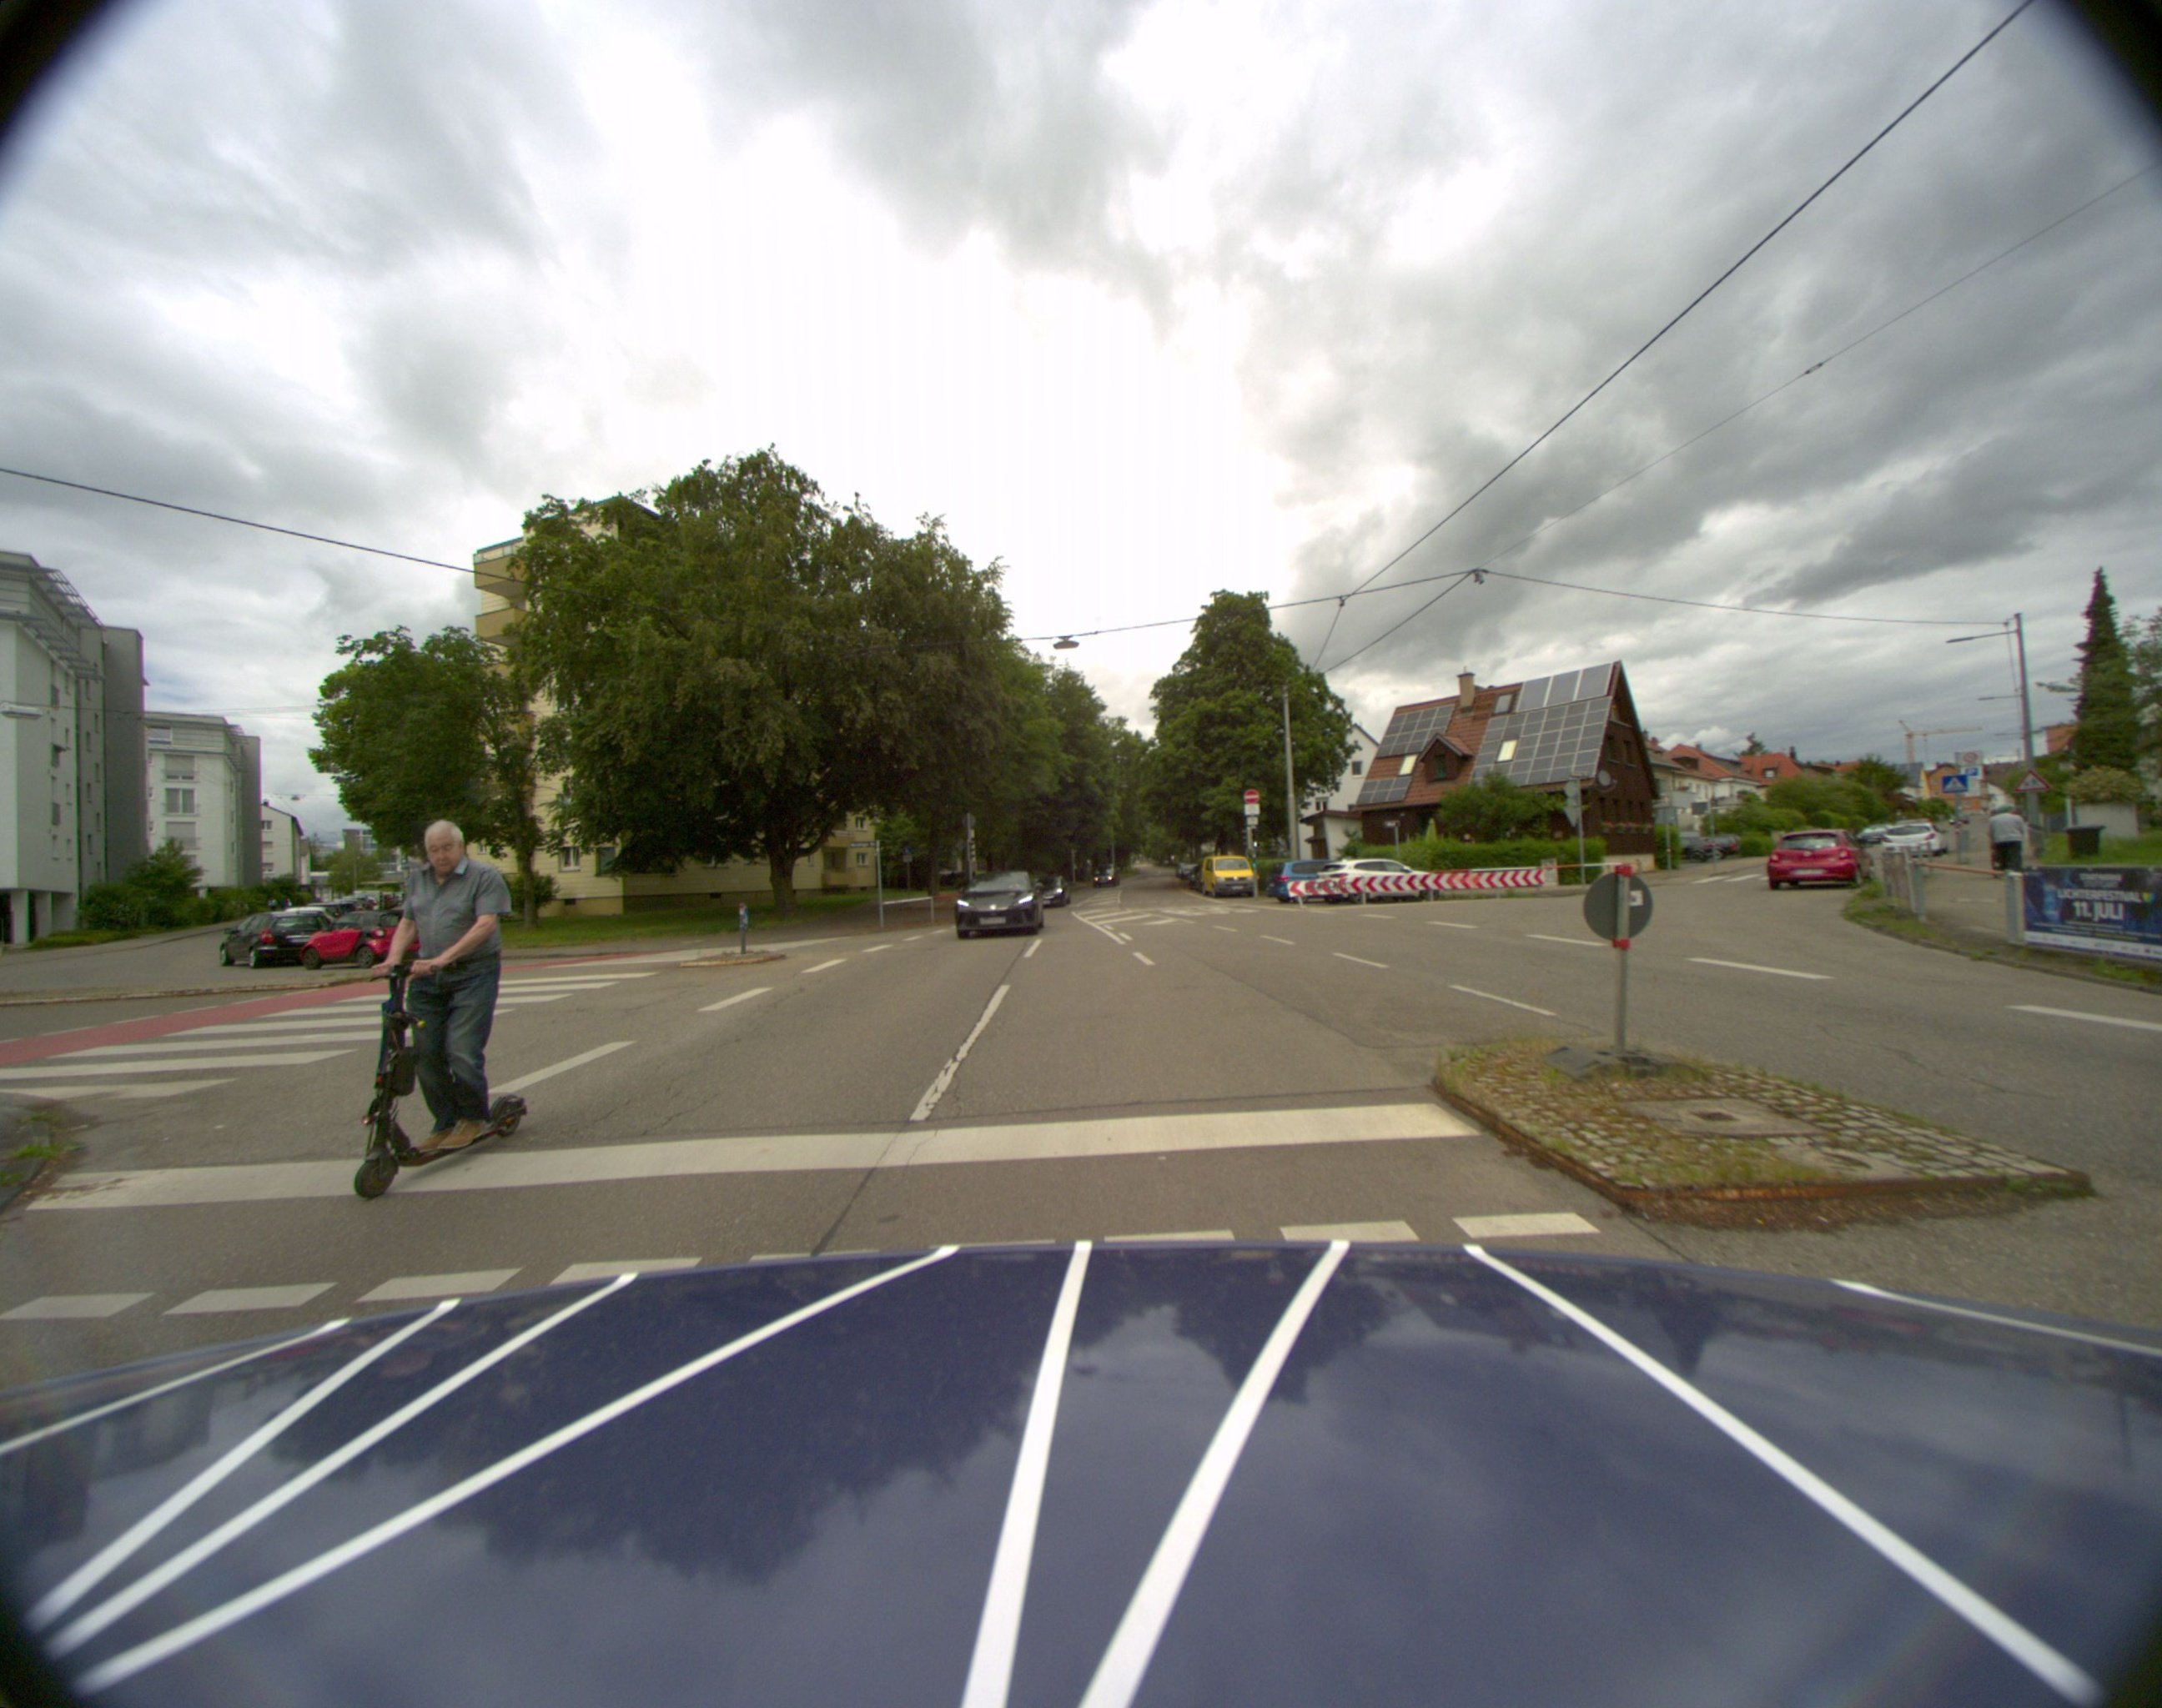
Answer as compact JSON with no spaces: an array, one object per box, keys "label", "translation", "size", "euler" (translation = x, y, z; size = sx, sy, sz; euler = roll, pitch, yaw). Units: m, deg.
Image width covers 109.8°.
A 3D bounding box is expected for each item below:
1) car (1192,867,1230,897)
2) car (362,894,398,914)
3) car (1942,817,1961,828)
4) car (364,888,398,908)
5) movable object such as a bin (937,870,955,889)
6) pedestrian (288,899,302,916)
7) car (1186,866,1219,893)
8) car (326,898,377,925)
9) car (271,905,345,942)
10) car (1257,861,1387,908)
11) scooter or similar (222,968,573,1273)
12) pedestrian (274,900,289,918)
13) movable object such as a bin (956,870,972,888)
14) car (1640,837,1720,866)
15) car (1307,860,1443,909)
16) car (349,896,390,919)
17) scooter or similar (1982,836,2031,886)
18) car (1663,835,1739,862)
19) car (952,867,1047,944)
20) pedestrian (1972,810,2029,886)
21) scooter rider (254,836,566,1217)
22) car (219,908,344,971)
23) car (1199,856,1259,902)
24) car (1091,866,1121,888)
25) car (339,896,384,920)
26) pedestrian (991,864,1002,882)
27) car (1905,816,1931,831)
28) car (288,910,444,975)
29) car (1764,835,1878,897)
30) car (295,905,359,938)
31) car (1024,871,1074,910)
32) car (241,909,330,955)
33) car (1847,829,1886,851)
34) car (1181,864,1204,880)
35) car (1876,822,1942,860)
[{"label":"car","translation":[7.318,1.535,43.037],"size":[1.749,1.442,4.515],"euler":[-2,0,6]},{"label":"car","translation":[-55.970,3.957,60.729],"size":[1.798,1.403,4.061],"euler":[-1,-1,-39]},{"label":"car","translation":[131.510,-4.679,114.811],"size":[3.692,1.480,1.771],"euler":[-1,-2,-40]},{"label":"car","translation":[-59.632,3.760,64.778],"size":[1.798,1.571,4.061],"euler":[-1,-1,-39]},{"label":"movable object such as a bin","translation":[-12.434,2.354,69.922],"size":[1.434,1.632,1.020],"euler":[-1,1,3]},{"label":"pedestrian","translation":[-70.156,4.790,67.815],"size":[0.710,1.482,0.710],"euler":[-4,1,35]},{"label":"car","translation":[7.582,1.572,47.729],"size":[1.749,1.442,4.596],"euler":[-2,0,7]},{"label":"car","translation":[-43.715,3.441,45.602],"size":[1.798,1.403,4.061],"euler":[-1,-1,-39]},{"label":"car","translation":[-34.388,3.043,33.898],"size":[1.798,1.346,4.061],"euler":[-1,-1,-39]},{"label":"car","translation":[8.963,1.138,28.461],"size":[4.177,1.537,1.845],"euler":[-3,-2,-4]},{"label":"scooter or similar","translation":[-3.522,1.282,4.108],"size":[0.683,1.132,1.459],"euler":[-3,-2,-8]},{"label":"pedestrian","translation":[-70.669,4.829,67.146],"size":[0.710,1.482,0.710],"euler":[-4,1,34]},{"label":"movable object such as a bin","translation":[-10.765,2.316,69.882],"size":[1.277,1.632,1.020],"euler":[-1,1,3]},{"label":"car","translation":[35.678,-0.126,45.319],"size":[1.594,1.480,3.434],"euler":[-1,-2,-39]},{"label":"car","translation":[10.081,1.046,26.174],"size":[3.906,1.463,1.844],"euler":[-2,-2,-12]},{"label":"car","translation":[-50.583,3.771,54.060],"size":[1.798,1.403,4.061],"euler":[-1,-1,-39]},{"label":"scooter or similar","translation":[21.622,0.173,17.753],"size":[0.891,1.088,0.611],"euler":[-5,0,-35]},{"label":"car","translation":[39.452,-0.345,48.398],"size":[1.594,1.480,3.434],"euler":[-1,-2,-39]},{"label":"car","translation":[-1.815,1.191,18.196],"size":[1.804,1.540,4.300],"euler":[-2,-3,-1]},{"label":"pedestrian","translation":[20.879,-0.138,17.251],"size":[0.832,1.643,0.688],"euler":[-5,1,-35]},{"label":"scooter rider","translation":[-3.535,0.814,4.147],"size":[0.683,1.719,1.196],"euler":[-3,-2,-8]},{"label":"car","translation":[-23.938,2.543,22.725],"size":[3.816,1.581,1.822],"euler":[-4,-1,32]},{"label":"car","translation":[7.027,1.158,36.615],"size":[1.921,1.977,4.801],"euler":[-2,-1,1]},{"label":"car","translation":[2.024,1.848,60.769],"size":[1.997,1.585,4.003],"euler":[-3,-1,7]},{"label":"car","translation":[-47.214,3.524,49.914],"size":[1.798,1.403,4.061],"euler":[-1,-1,-39]},{"label":"pedestrian","translation":[-6.808,1.548,61.392],"size":[0.688,1.373,0.606],"euler":[-3,0,7]},{"label":"car","translation":[93.834,-3.425,85.182],"size":[3.692,1.480,1.771],"euler":[-1,-2,-40]},{"label":"car","translation":[-19.469,2.383,20.750],"size":[2.916,1.497,1.698],"euler":[-4,-2,12]},{"label":"car","translation":[19.749,0.299,20.232],"size":[3.692,1.480,1.771],"euler":[-1,-2,-40]},{"label":"car","translation":[-37.723,3.336,38.101],"size":[1.798,1.403,4.061],"euler":[-1,-1,-39]},{"label":"car","translation":[-1.440,1.667,35.788],"size":[1.814,1.520,4.001],"euler":[-3,1,4]},{"label":"car","translation":[-30.400,2.939,29.150],"size":[1.798,1.425,4.061],"euler":[-1,-1,-39]},{"label":"car","translation":[60.459,-1.065,58.483],"size":[3.692,1.480,1.771],"euler":[-1,-2,-40]},{"label":"car","translation":[9.954,1.578,67.793],"size":[1.851,1.368,4.597],"euler":[-2,-1,9]},{"label":"car","translation":[36.701,-0.560,33.666],"size":[3.692,1.480,1.771],"euler":[-1,-2,-40]}]
